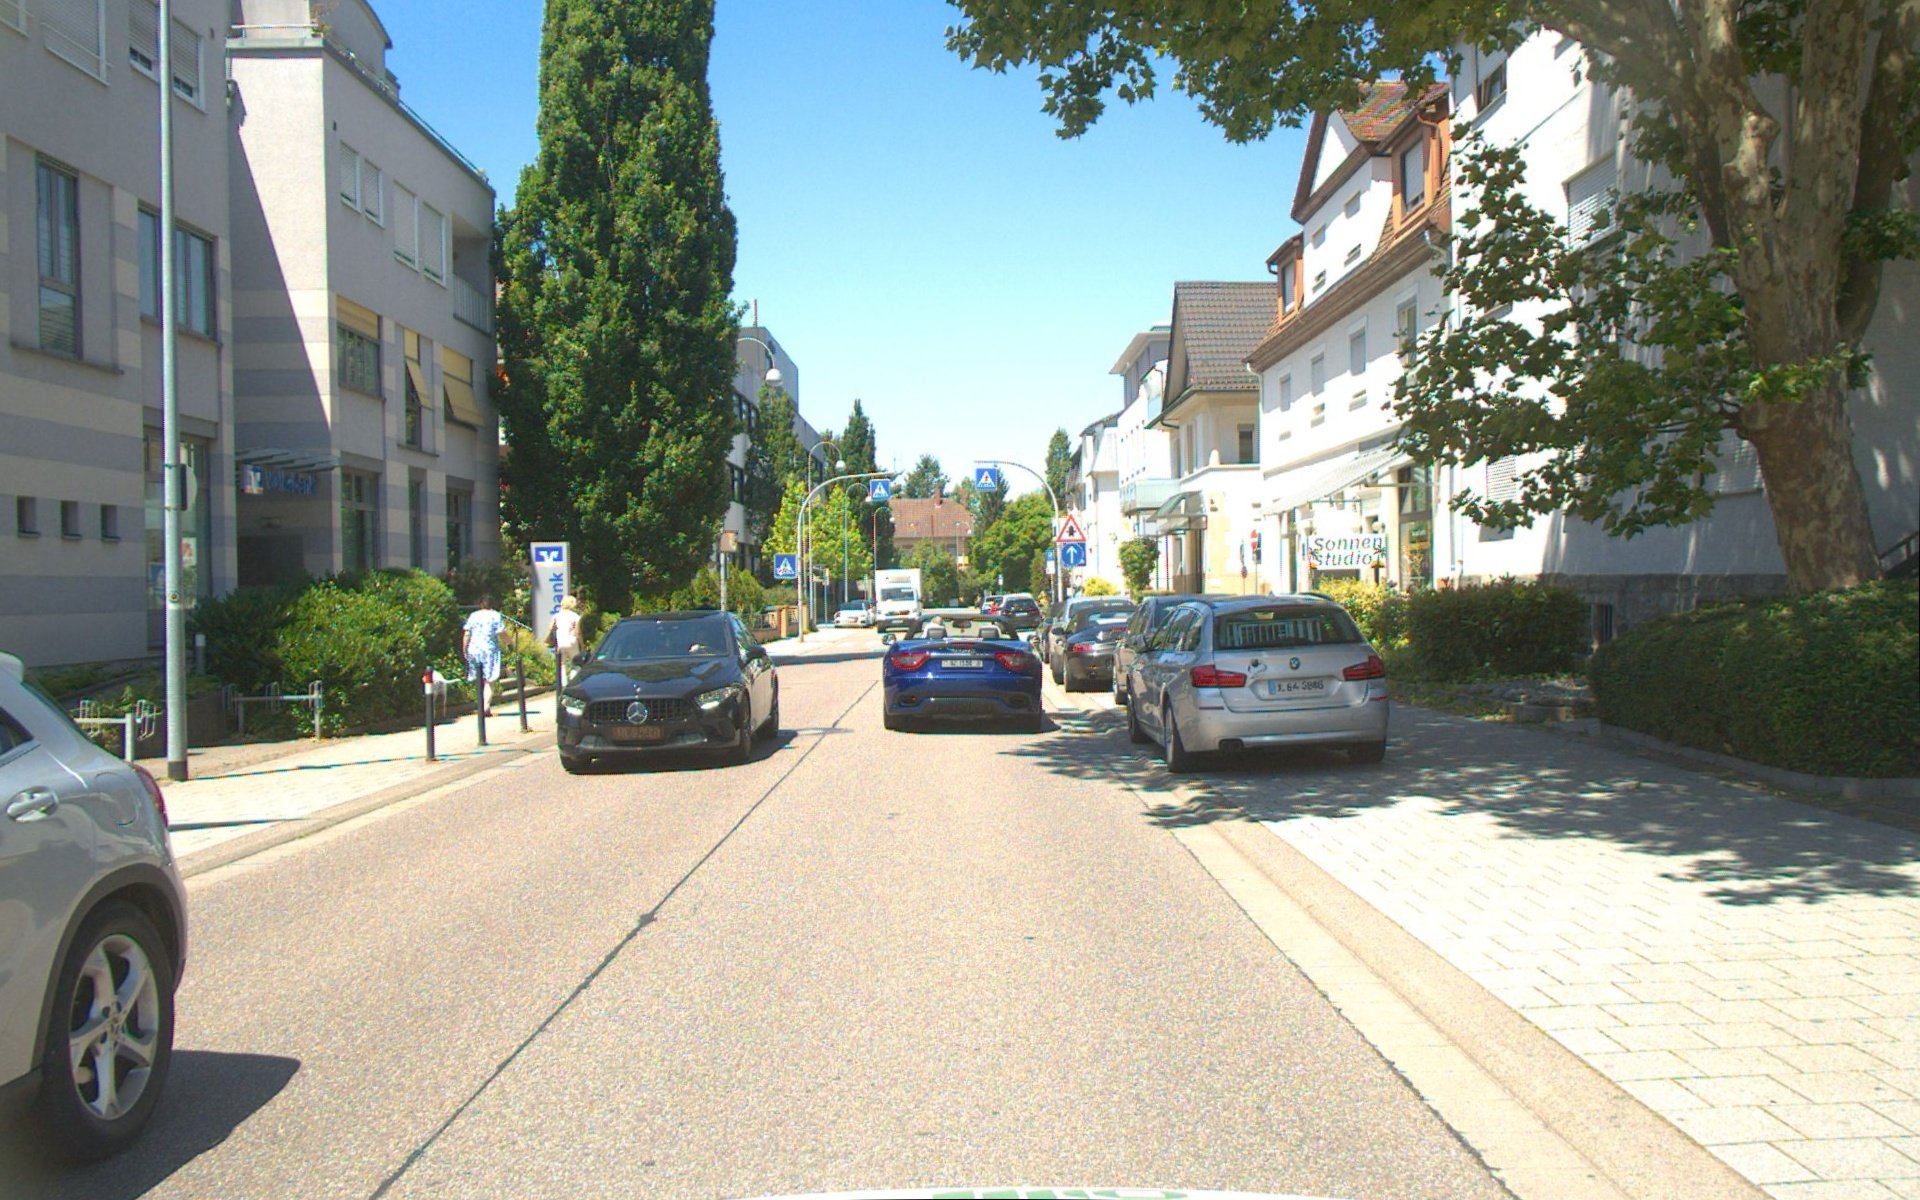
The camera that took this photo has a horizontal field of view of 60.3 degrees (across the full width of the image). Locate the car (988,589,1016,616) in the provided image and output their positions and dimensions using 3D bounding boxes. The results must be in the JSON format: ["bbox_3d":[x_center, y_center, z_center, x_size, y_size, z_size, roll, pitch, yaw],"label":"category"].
[{"bbox_3d":[2.539,0.148,100.576,1.571,1.465,3.853,-4,0,1],"label":"car"}]

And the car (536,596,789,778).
[{"bbox_3d":[-2.893,0.776,16.987,1.792,1.537,4.262,-3,0,-1],"label":"car"}]

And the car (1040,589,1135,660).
[{"bbox_3d":[2.889,0.532,38.352,1.789,1.451,4.700,-3,0,0],"label":"car"}]

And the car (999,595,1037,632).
[{"bbox_3d":[2.718,0.609,78.551,1.670,1.695,4.580,-1,0,0],"label":"car"}]

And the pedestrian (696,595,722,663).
[{"bbox_3d":[-6.378,0.731,41.981,0.525,1.714,0.708,-1,0,0],"label":"pedestrian"}]

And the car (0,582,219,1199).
[{"bbox_3d":[-3.180,0.758,3.057,1.792,1.537,4.031,-2,0,-1],"label":"car"}]

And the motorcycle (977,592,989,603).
[{"bbox_3d":[2.430,-0.281,175.895,0.684,1.126,1.791,-3,0,18],"label":"motorcycle"}]

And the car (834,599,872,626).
[{"bbox_3d":[-5.988,0.698,92.802,1.785,1.436,4.577,0,0,0],"label":"car"}]

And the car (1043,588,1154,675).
[{"bbox_3d":[2.677,0.590,32.992,1.708,1.494,4.851,-4,0,0],"label":"car"}]

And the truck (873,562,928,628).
[{"bbox_3d":[-2.845,-0.252,80.312,2.370,3.035,6.257,-2,0,0],"label":"truck"}]

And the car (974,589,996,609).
[{"bbox_3d":[1.968,-0.111,131.721,1.598,1.471,4.397,-4,0,0],"label":"car"}]

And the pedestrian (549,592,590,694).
[{"bbox_3d":[-6.672,0.732,28.276,0.525,1.714,0.708,-1,0,0],"label":"pedestrian"}]

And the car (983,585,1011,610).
[{"bbox_3d":[2.593,-0.161,117.267,1.806,1.647,4.427,-3,0,0],"label":"car"}]

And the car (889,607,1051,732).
[{"bbox_3d":[0.104,0.783,20.685,1.789,1.360,4.700,0,0,0],"label":"car"}]

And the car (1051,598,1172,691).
[{"bbox_3d":[2.438,0.679,27.420,1.526,1.364,4.173,-3,0,-1],"label":"car"}]

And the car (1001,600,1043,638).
[{"bbox_3d":[2.683,0.806,72.444,1.670,1.583,4.748,-1,0,0],"label":"car"}]

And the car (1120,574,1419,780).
[{"bbox_3d":[2.666,0.606,15.398,1.792,1.537,4.759,-3,0,-1],"label":"car"}]

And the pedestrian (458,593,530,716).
[{"bbox_3d":[-6.482,0.744,23.055,0.733,1.673,0.848,-1,0,-1],"label":"pedestrian"}]
